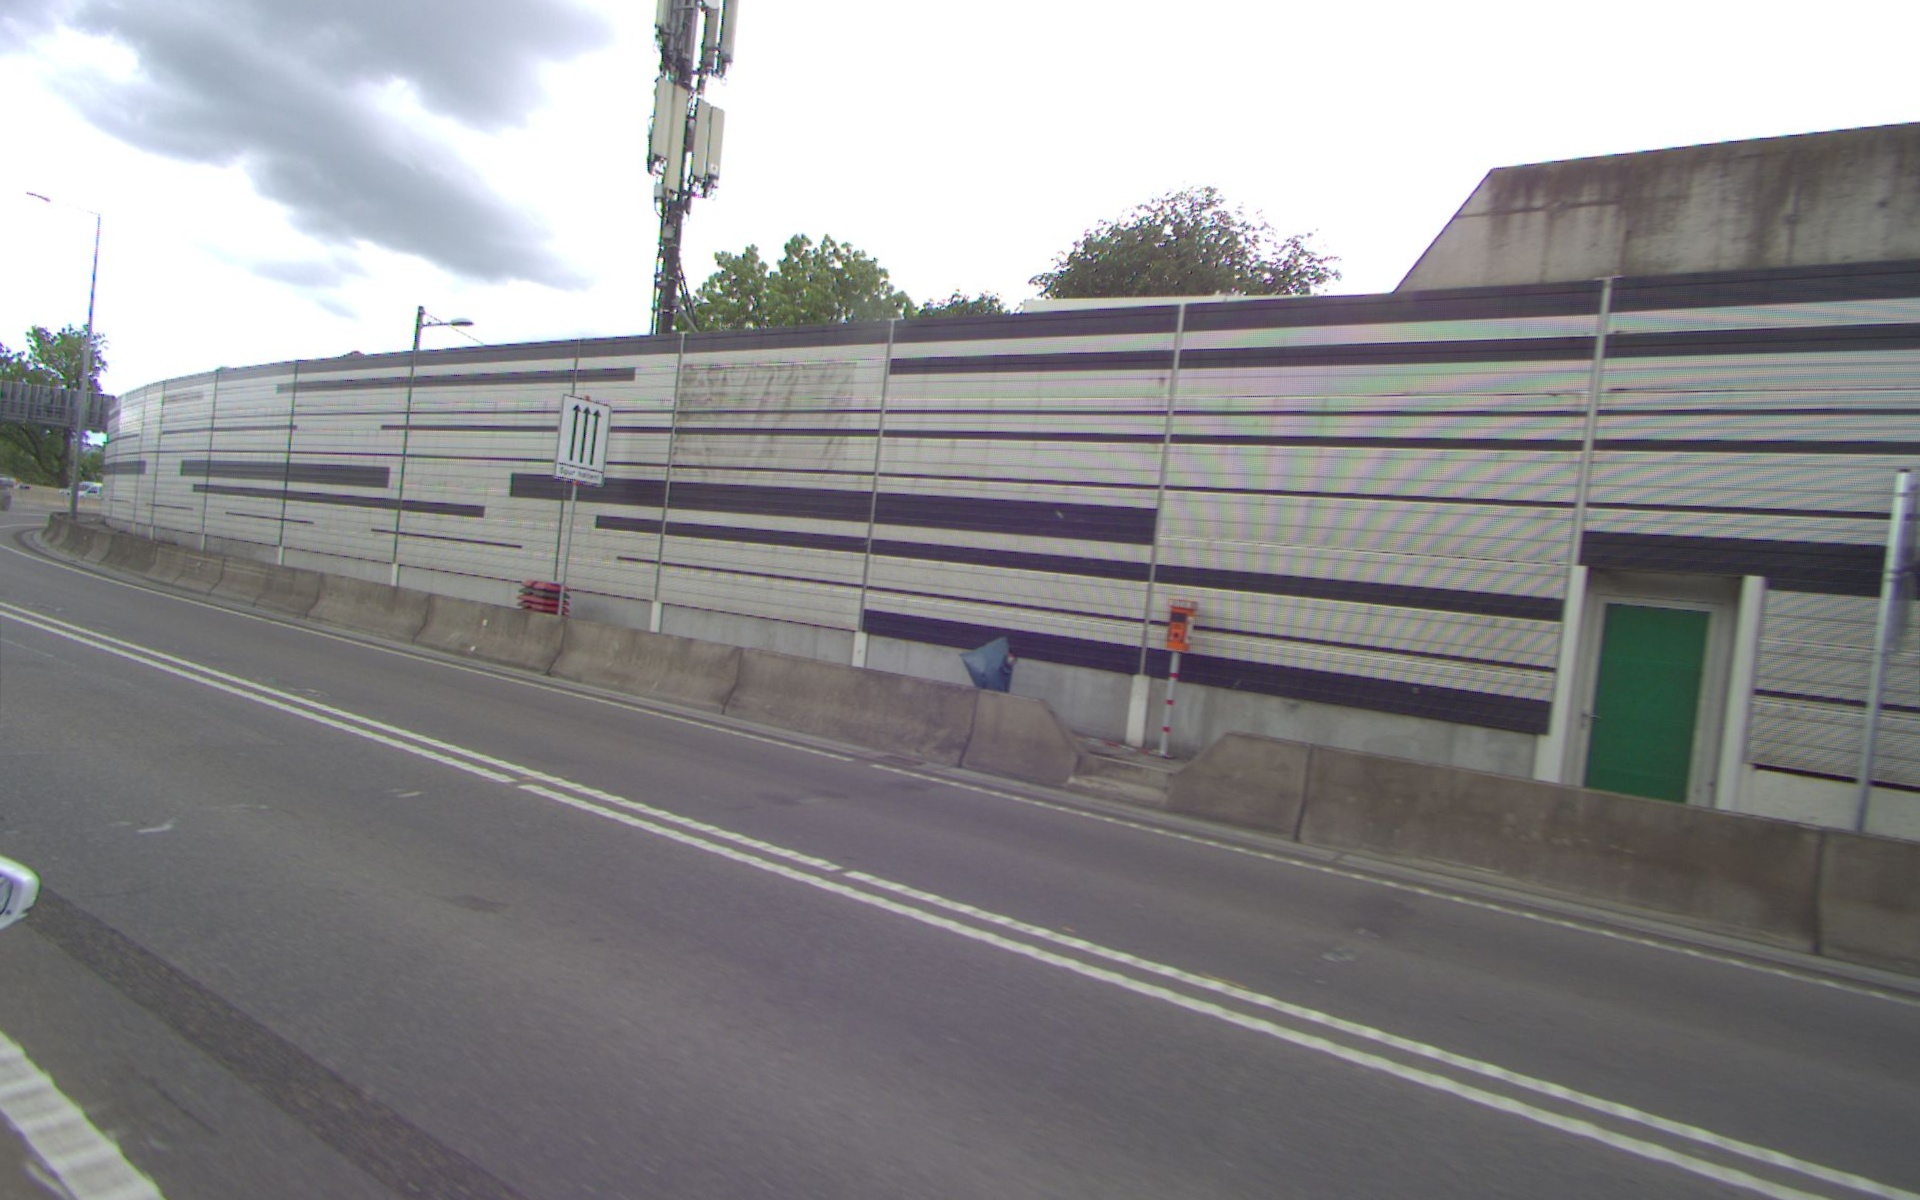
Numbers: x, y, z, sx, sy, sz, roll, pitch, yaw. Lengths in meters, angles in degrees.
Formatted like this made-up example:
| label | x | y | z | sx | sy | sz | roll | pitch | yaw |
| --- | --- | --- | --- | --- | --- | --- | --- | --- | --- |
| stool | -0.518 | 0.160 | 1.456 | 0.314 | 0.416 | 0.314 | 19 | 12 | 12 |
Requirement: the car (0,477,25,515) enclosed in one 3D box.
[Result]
| label | x | y | z | sx | sy | sz | roll | pitch | yaw |
| --- | --- | --- | --- | --- | --- | --- | --- | --- | --- |
| car | -51.188 | -5.620 | 52.601 | 1.974 | 1.882 | 3.978 | 7 | -1 | -23 |

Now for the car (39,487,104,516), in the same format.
| label | x | y | z | sx | sy | sz | roll | pitch | yaw |
| --- | --- | --- | --- | --- | --- | --- | --- | --- | --- |
| car | -72.252 | -7.969 | 81.879 | 1.968 | 1.706 | 4.249 | 8 | -1 | -13 |

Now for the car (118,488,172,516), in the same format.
| label | x | y | z | sx | sy | sz | roll | pitch | yaw |
| --- | --- | --- | --- | --- | --- | --- | --- | --- | --- |
| car | -57.792 | -6.939 | 71.424 | 1.995 | 1.507 | 4.037 | 7 | 0 | -27 |
